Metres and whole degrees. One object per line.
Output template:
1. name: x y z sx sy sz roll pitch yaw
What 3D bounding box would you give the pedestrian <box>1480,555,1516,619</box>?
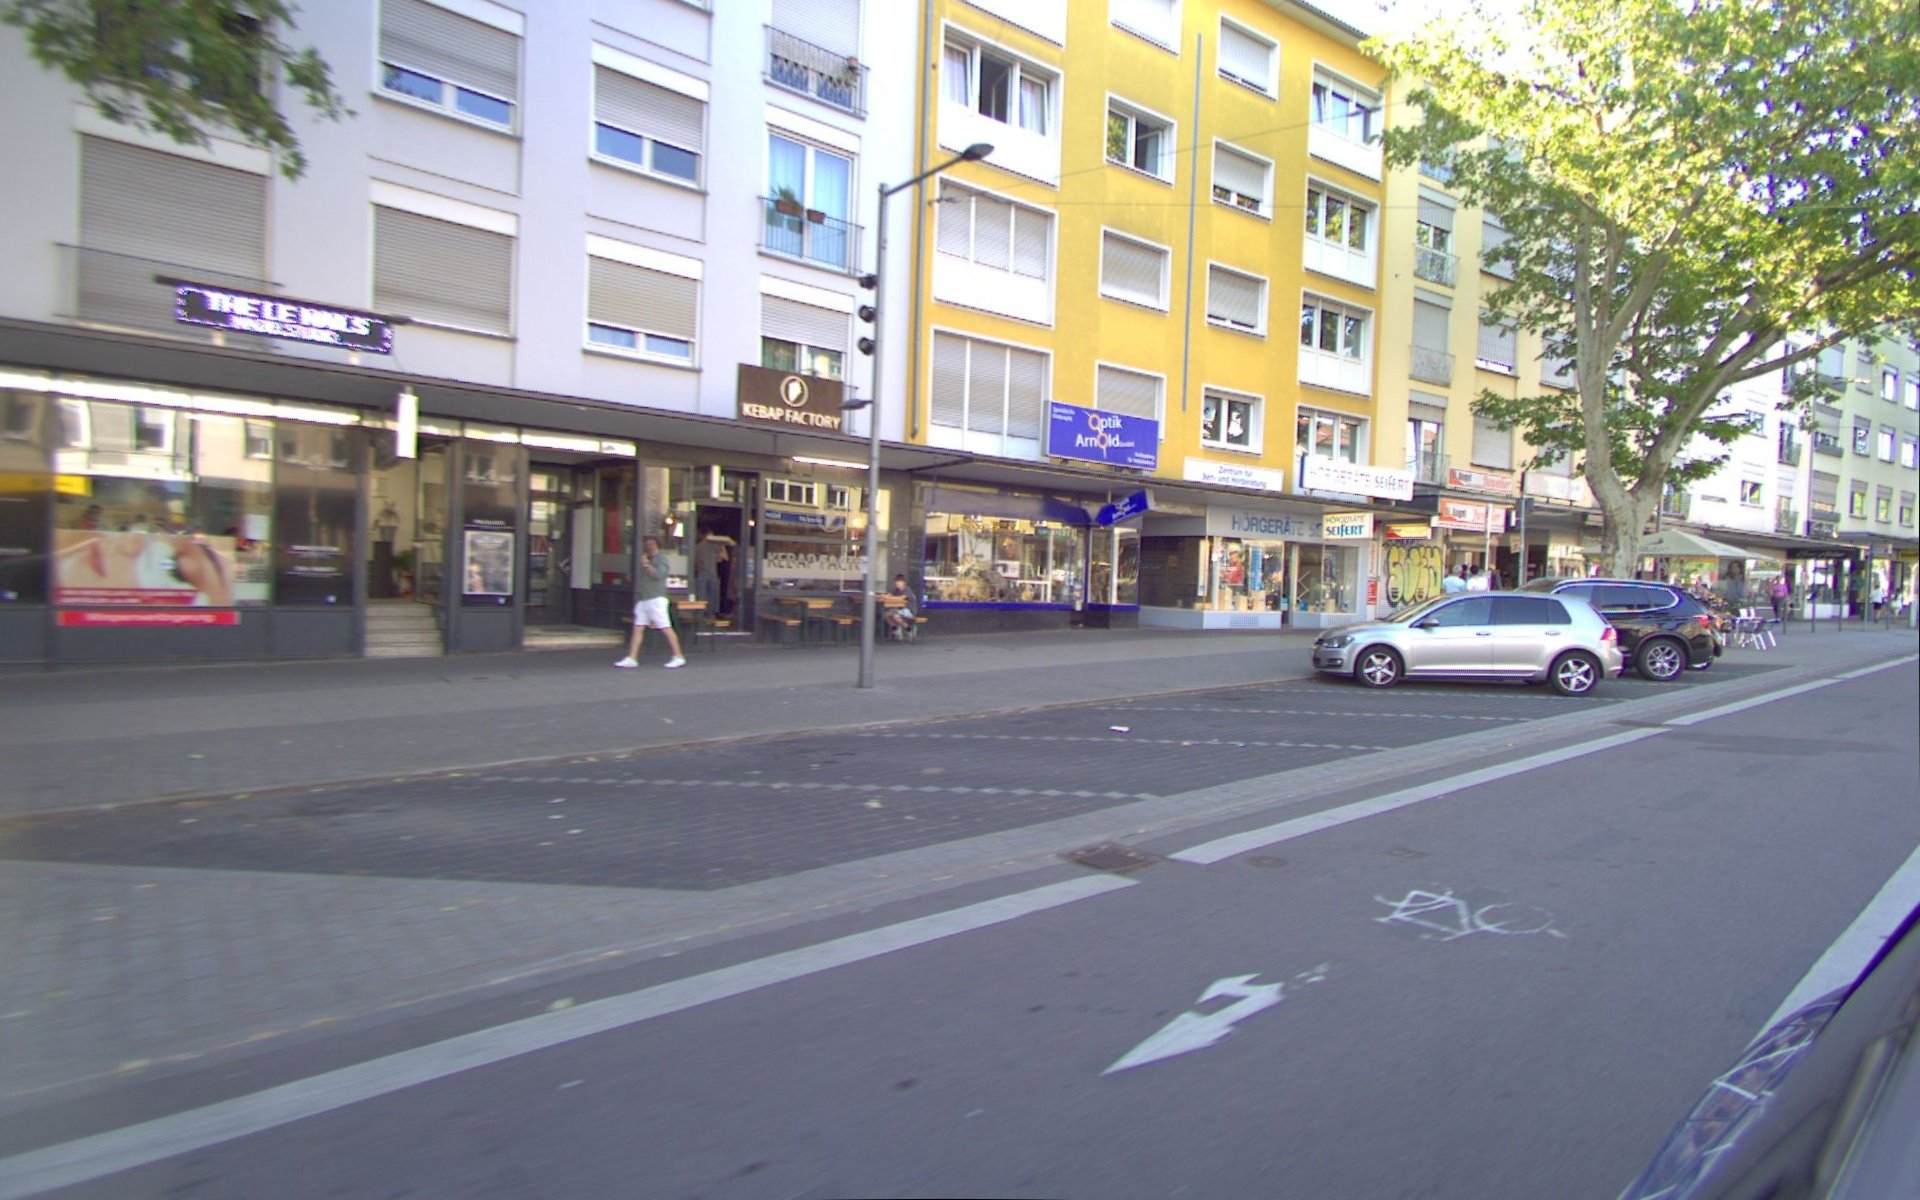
1. pedestrian: 15.538 -0.376 29.253 0.614 1.826 0.638 1 2 -4

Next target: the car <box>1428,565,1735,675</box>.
1. car: 10.595 0.282 17.564 4.084 1.701 1.805 1 2 10

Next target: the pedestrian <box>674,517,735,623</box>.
1. pedestrian: -4.692 -0.555 18.602 0.725 1.900 0.912 0 2 -43

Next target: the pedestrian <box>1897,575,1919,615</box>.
1. pedestrian: 39.872 -0.221 42.430 0.614 1.605 0.638 0 4 -34

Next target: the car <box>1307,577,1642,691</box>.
1. car: 7.530 0.437 15.260 4.115 1.469 1.803 1 2 13

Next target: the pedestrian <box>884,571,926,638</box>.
1. pedestrian: -0.982 0.069 18.192 0.614 1.171 0.419 0 2 -36

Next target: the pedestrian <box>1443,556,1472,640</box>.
1. pedestrian: 11.174 -0.052 22.733 0.513 1.855 0.470 2 2 29

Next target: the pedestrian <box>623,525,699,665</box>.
1. pedestrian: -4.075 -0.080 13.774 0.772 1.812 0.710 0 5 -34

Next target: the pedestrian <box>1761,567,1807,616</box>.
1. pedestrian: 31.196 -0.340 38.307 1.111 1.784 0.972 -1 3 -32

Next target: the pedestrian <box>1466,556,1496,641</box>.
1. pedestrian: 11.498 -0.047 22.353 0.511 1.855 0.471 2 2 23

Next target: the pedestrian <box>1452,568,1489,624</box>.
1. pedestrian: 14.815 -0.109 29.396 0.624 1.564 0.628 1 5 -9

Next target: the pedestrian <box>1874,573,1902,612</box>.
1. pedestrian: 39.403 -0.340 42.971 0.614 1.605 0.625 0 4 -34

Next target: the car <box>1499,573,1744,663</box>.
1. car: 12.768 0.298 19.757 3.550 1.559 1.737 1 2 10
